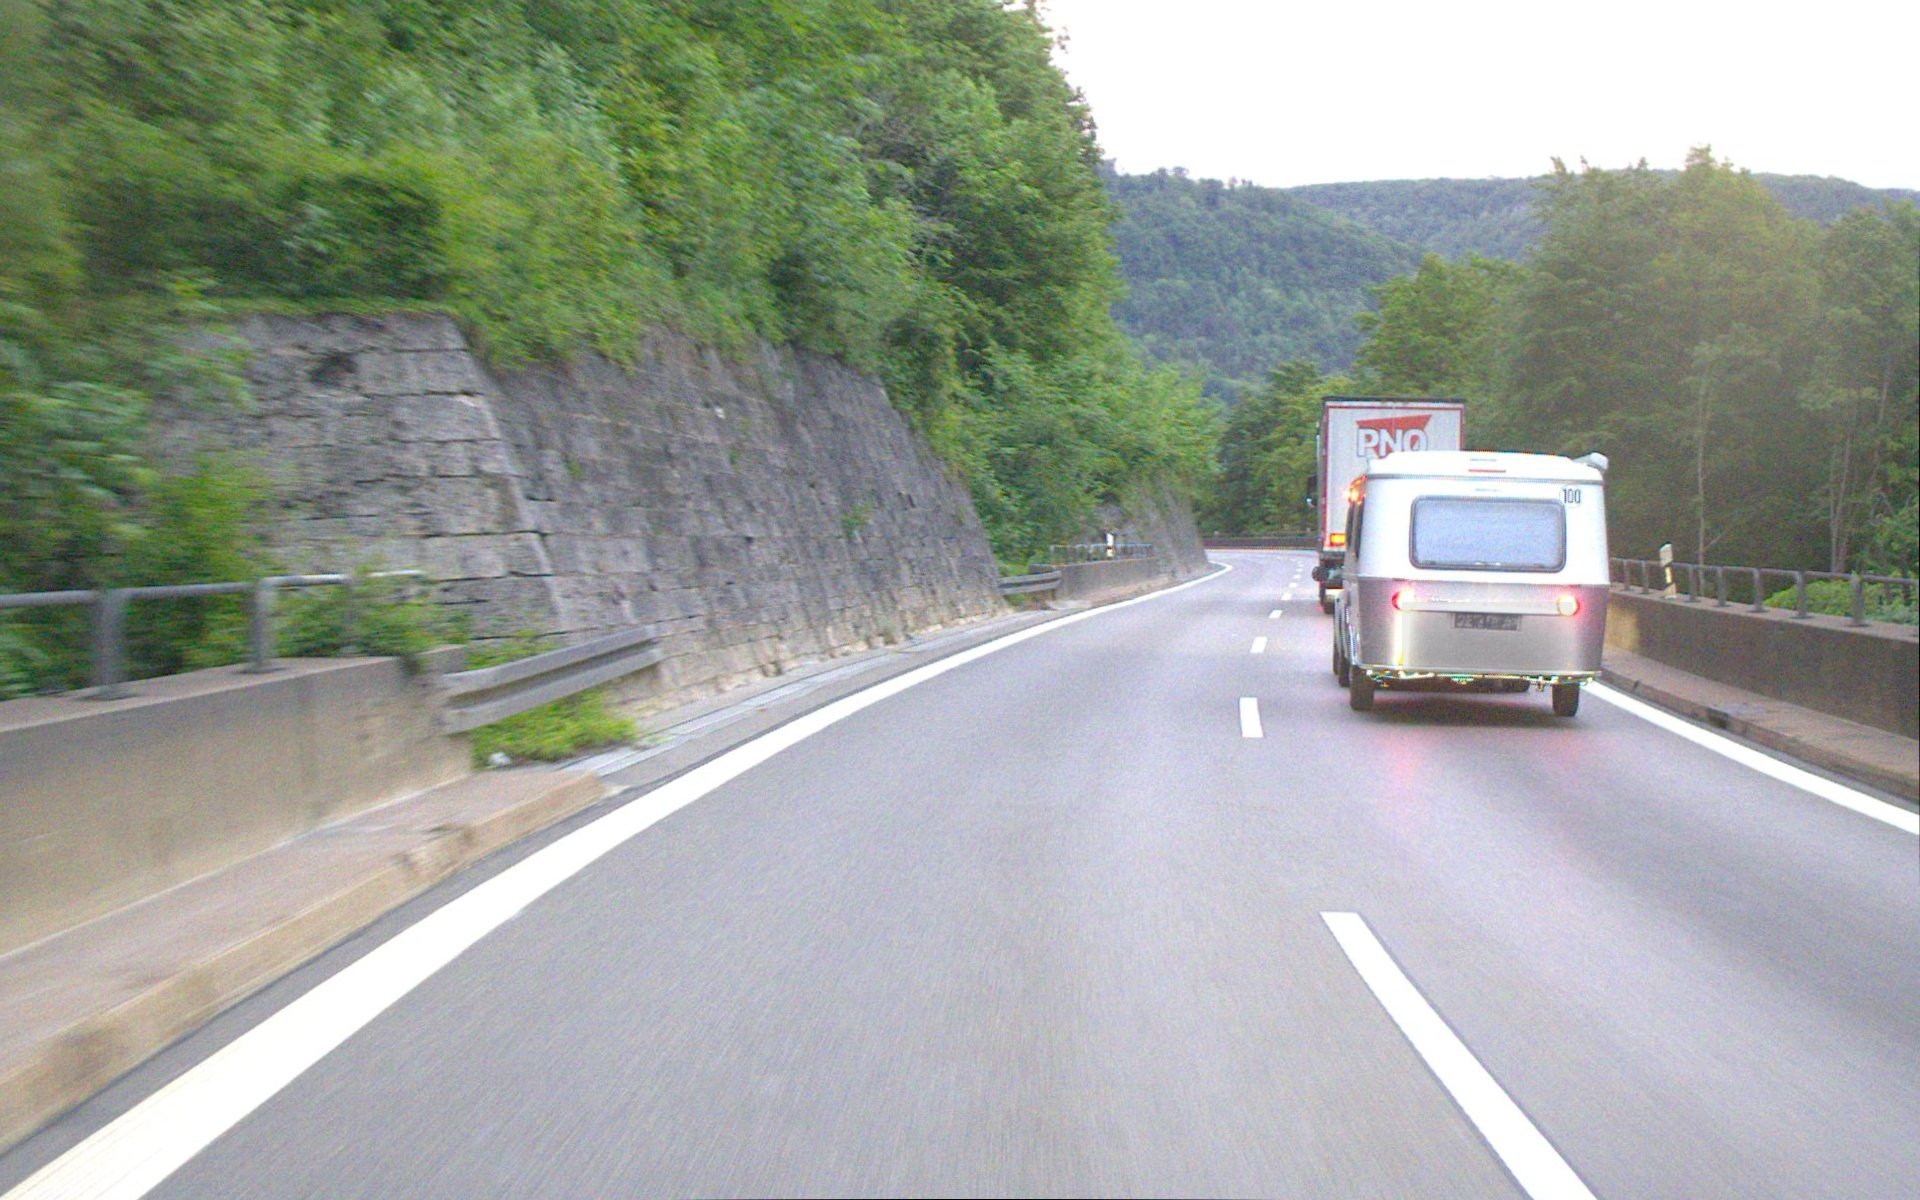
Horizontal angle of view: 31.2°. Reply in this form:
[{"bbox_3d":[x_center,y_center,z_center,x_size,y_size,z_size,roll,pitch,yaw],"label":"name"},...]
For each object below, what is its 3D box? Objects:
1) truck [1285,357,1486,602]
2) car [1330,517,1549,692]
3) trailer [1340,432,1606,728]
[{"bbox_3d":[8.693,-2.300,69.966,3.296,4.158,16.498,-4,0,7],"label":"truck"},{"bbox_3d":[4.890,0.005,35.632,1.994,1.609,4.864,2,1,6],"label":"car"},{"bbox_3d":[4.448,-0.224,30.617,2.055,2.367,5.937,0,1,6],"label":"trailer"}]
